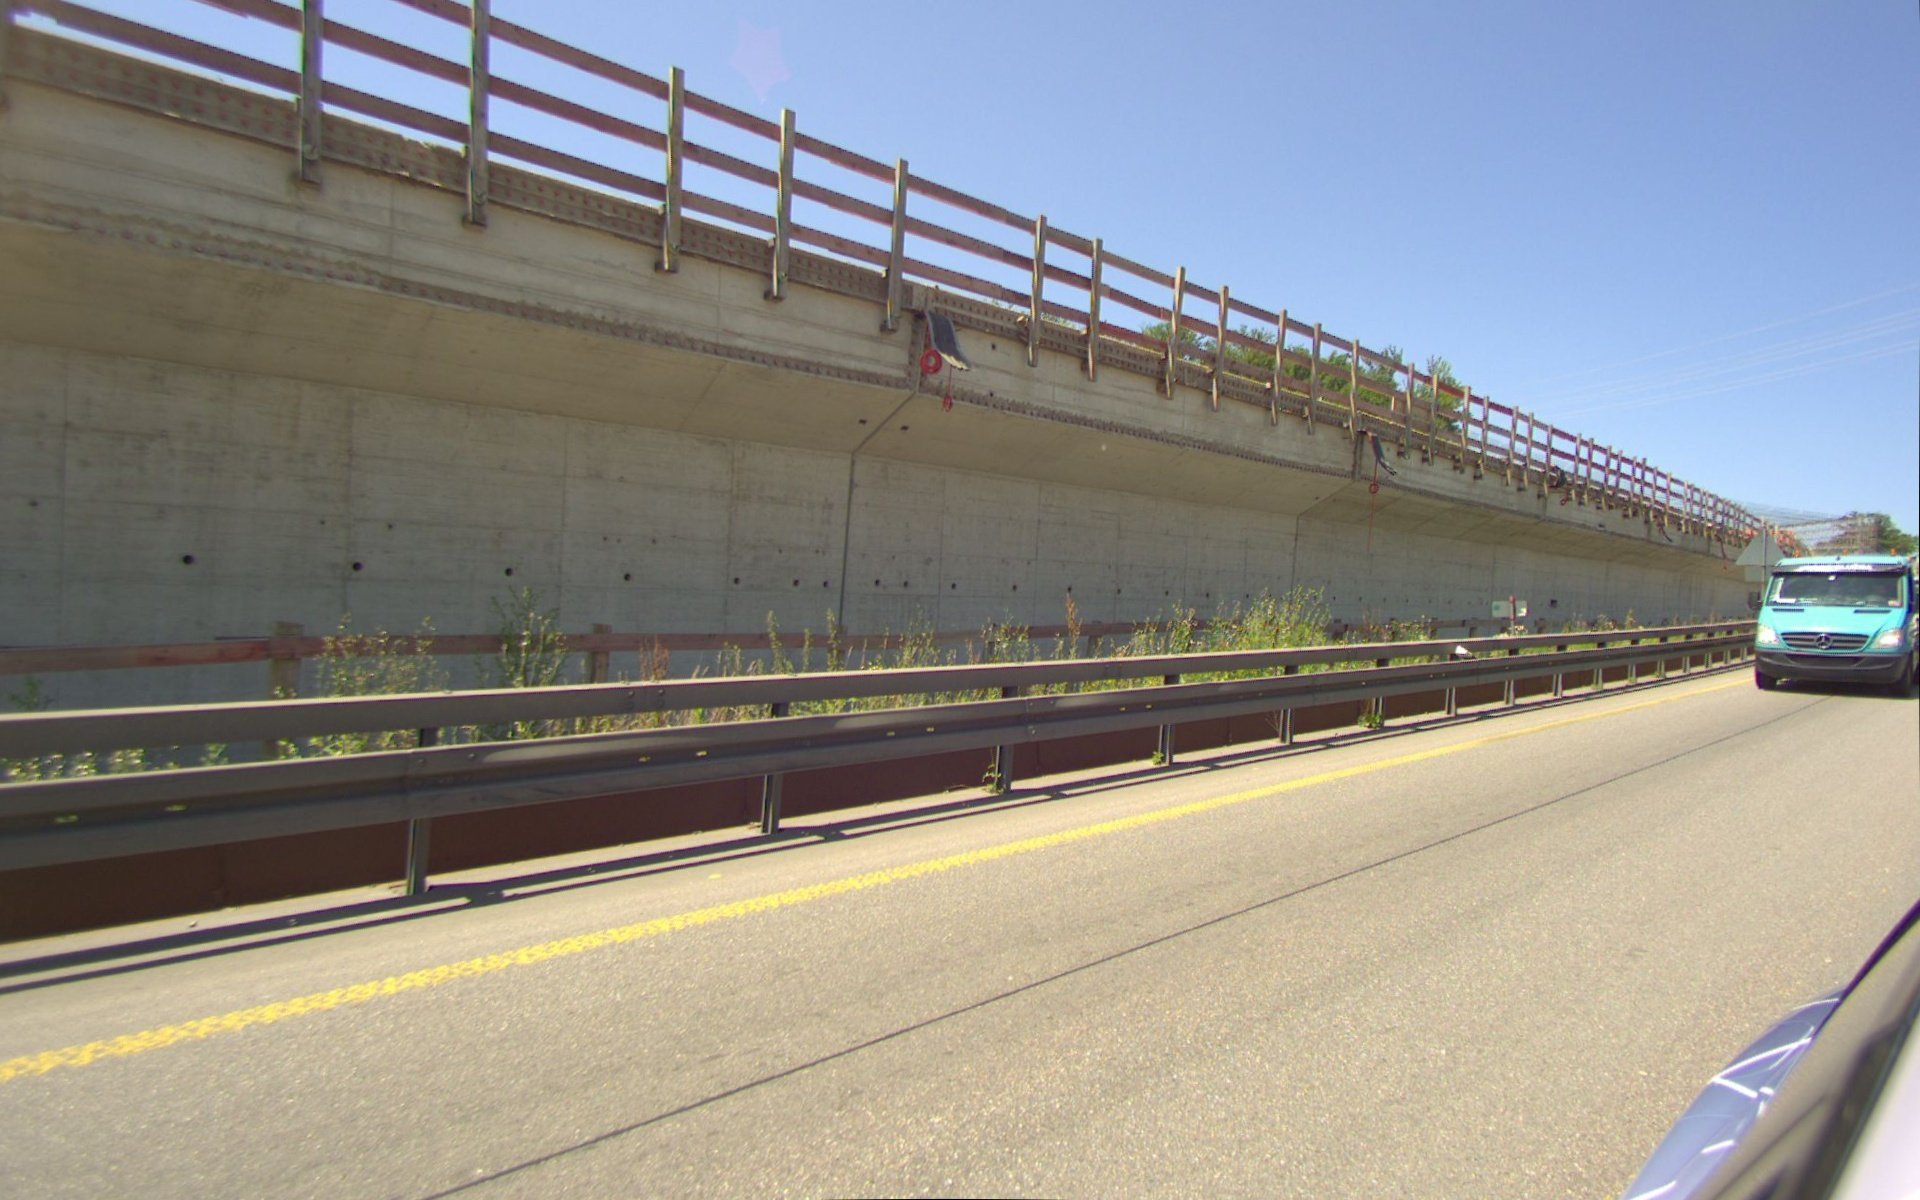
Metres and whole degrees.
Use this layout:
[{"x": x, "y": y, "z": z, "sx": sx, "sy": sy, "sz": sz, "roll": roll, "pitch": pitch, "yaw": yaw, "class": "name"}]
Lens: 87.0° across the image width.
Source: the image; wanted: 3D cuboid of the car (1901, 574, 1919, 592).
[{"x": 89.196, "y": -1.603, "z": 94.651, "sx": 3.289, "sy": 1.691, "sz": 1.584, "roll": -1, "pitch": 1, "yaw": -43, "class": "car"}]

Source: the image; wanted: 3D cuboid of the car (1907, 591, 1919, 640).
[{"x": 31.012, "y": 0.472, "z": 31.747, "sx": 3.526, "sy": 1.426, "sz": 1.736, "roll": -1, "pitch": 1, "yaw": -44, "class": "car"}]

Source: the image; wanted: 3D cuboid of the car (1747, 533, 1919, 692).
[{"x": 15.960, "y": 0.098, "z": 17.951, "sx": 6.789, "sy": 2.354, "sz": 2.213, "roll": -1, "pitch": 2, "yaw": -44, "class": "car"}]

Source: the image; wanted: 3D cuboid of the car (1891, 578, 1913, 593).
[{"x": 105.167, "y": -1.628, "z": 112.957, "sx": 3.289, "sy": 1.697, "sz": 1.584, "roll": -1, "pitch": 1, "yaw": -43, "class": "car"}]
